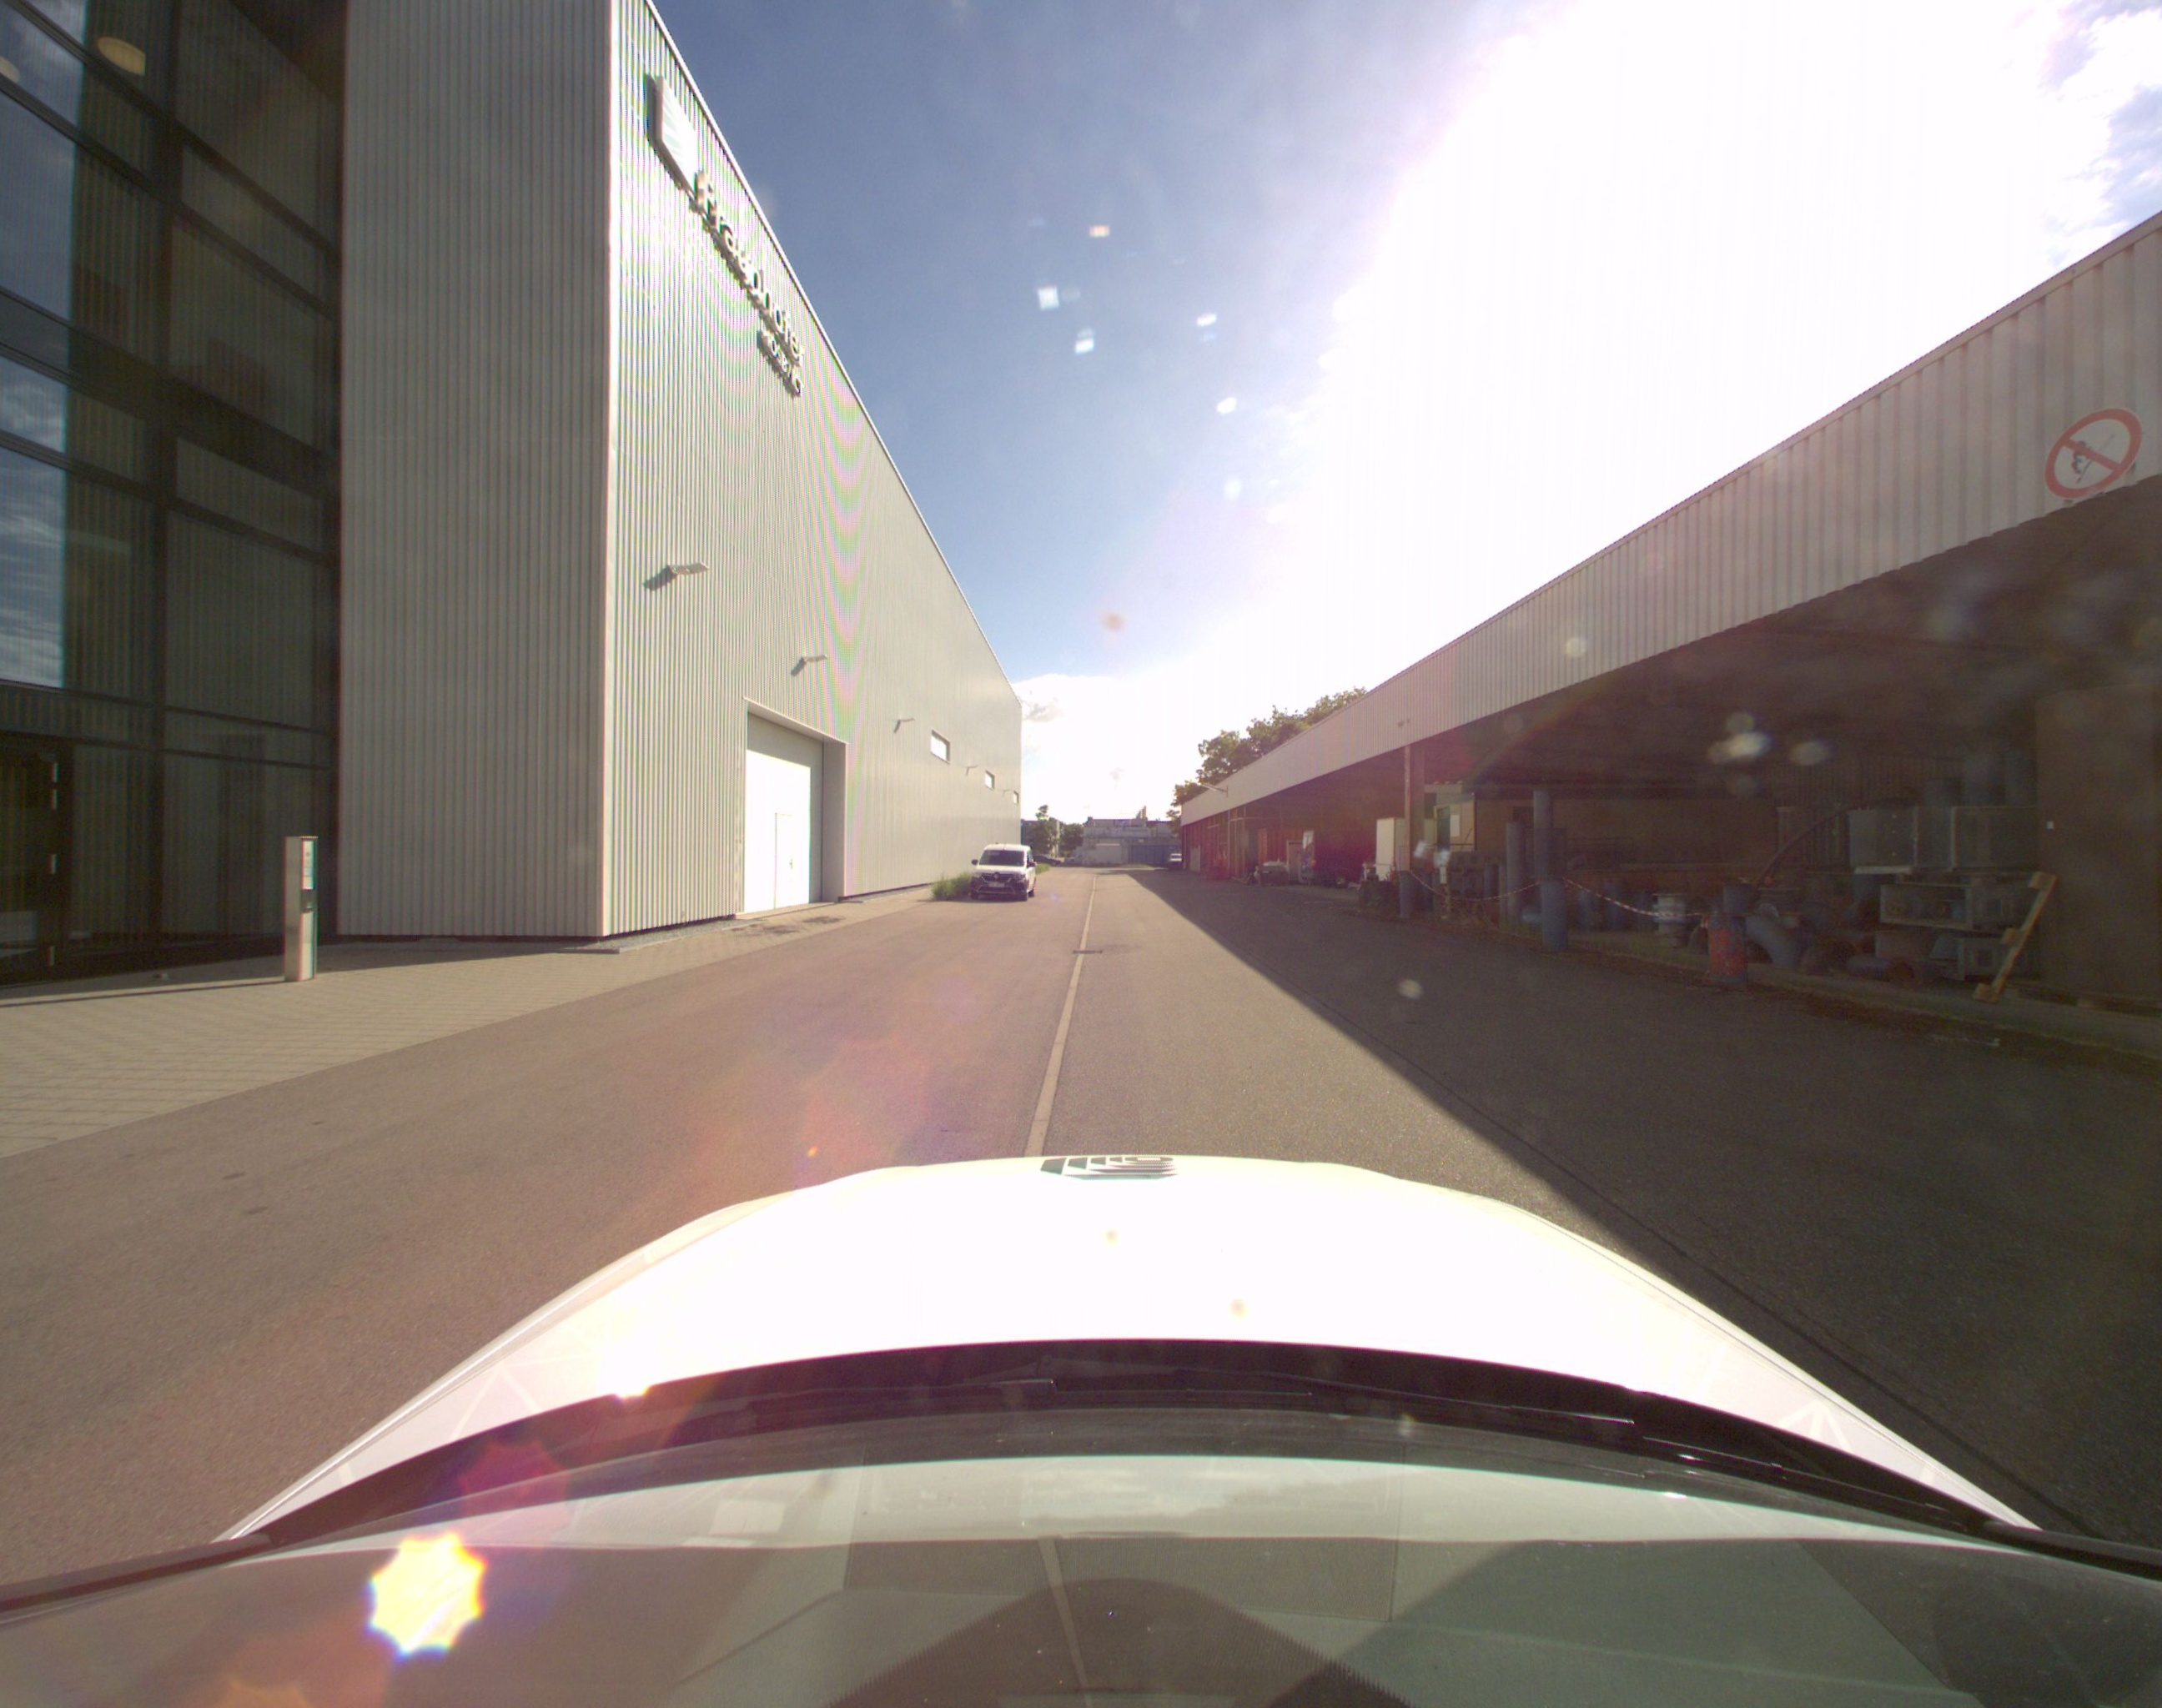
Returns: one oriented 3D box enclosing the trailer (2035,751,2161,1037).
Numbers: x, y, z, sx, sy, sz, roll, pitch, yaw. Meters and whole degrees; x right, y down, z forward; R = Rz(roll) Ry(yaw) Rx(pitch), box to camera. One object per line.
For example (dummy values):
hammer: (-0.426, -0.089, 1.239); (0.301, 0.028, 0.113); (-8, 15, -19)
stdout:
trailer: (9.692, 0.226, 5.249); (4.405, 1.990, 2.164); (-1, -1, 2)

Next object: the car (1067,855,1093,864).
car: (-0.162, 0.930, 137.159); (4.288, 1.457, 1.824); (-1, -1, 0)

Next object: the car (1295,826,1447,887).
car: (11.420, 0.116, 32.361); (5.314, 2.281, 2.152); (-1, -1, 0)

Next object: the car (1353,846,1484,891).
car: (12.029, 0.498, 29.197); (3.954, 1.514, 1.839); (-1, -1, -2)

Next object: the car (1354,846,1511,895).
car: (11.191, 0.514, 26.121); (4.237, 1.471, 1.868); (-1, 0, -2)

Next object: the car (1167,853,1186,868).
car: (11.313, 0.721, 96.668); (1.971, 1.602, 4.381); (-1, 1, 3)

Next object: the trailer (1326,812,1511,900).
trailer: (9.652, 0.072, 23.584); (4.499, 2.342, 2.048); (-1, -1, 2)

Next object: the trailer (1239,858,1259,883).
trailer: (7.862, 0.778, 38.121); (0.550, 1.118, 1.546); (-1, -1, -1)

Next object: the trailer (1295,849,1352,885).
trailer: (10.366, 0.530, 34.984); (2.028, 1.466, 1.741); (-1, 0, 5)

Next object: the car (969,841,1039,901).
car: (-2.475, 0.542, 27.311); (1.777, 1.816, 4.602); (1, -1, 1)

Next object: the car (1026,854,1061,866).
car: (-5.018, 0.769, 109.313); (4.432, 1.531, 1.824); (-1, -1, 0)

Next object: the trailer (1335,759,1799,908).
trailer: (12.148, -0.486, 21.061); (10.230, 3.343, 2.802); (-1, 0, 1)
